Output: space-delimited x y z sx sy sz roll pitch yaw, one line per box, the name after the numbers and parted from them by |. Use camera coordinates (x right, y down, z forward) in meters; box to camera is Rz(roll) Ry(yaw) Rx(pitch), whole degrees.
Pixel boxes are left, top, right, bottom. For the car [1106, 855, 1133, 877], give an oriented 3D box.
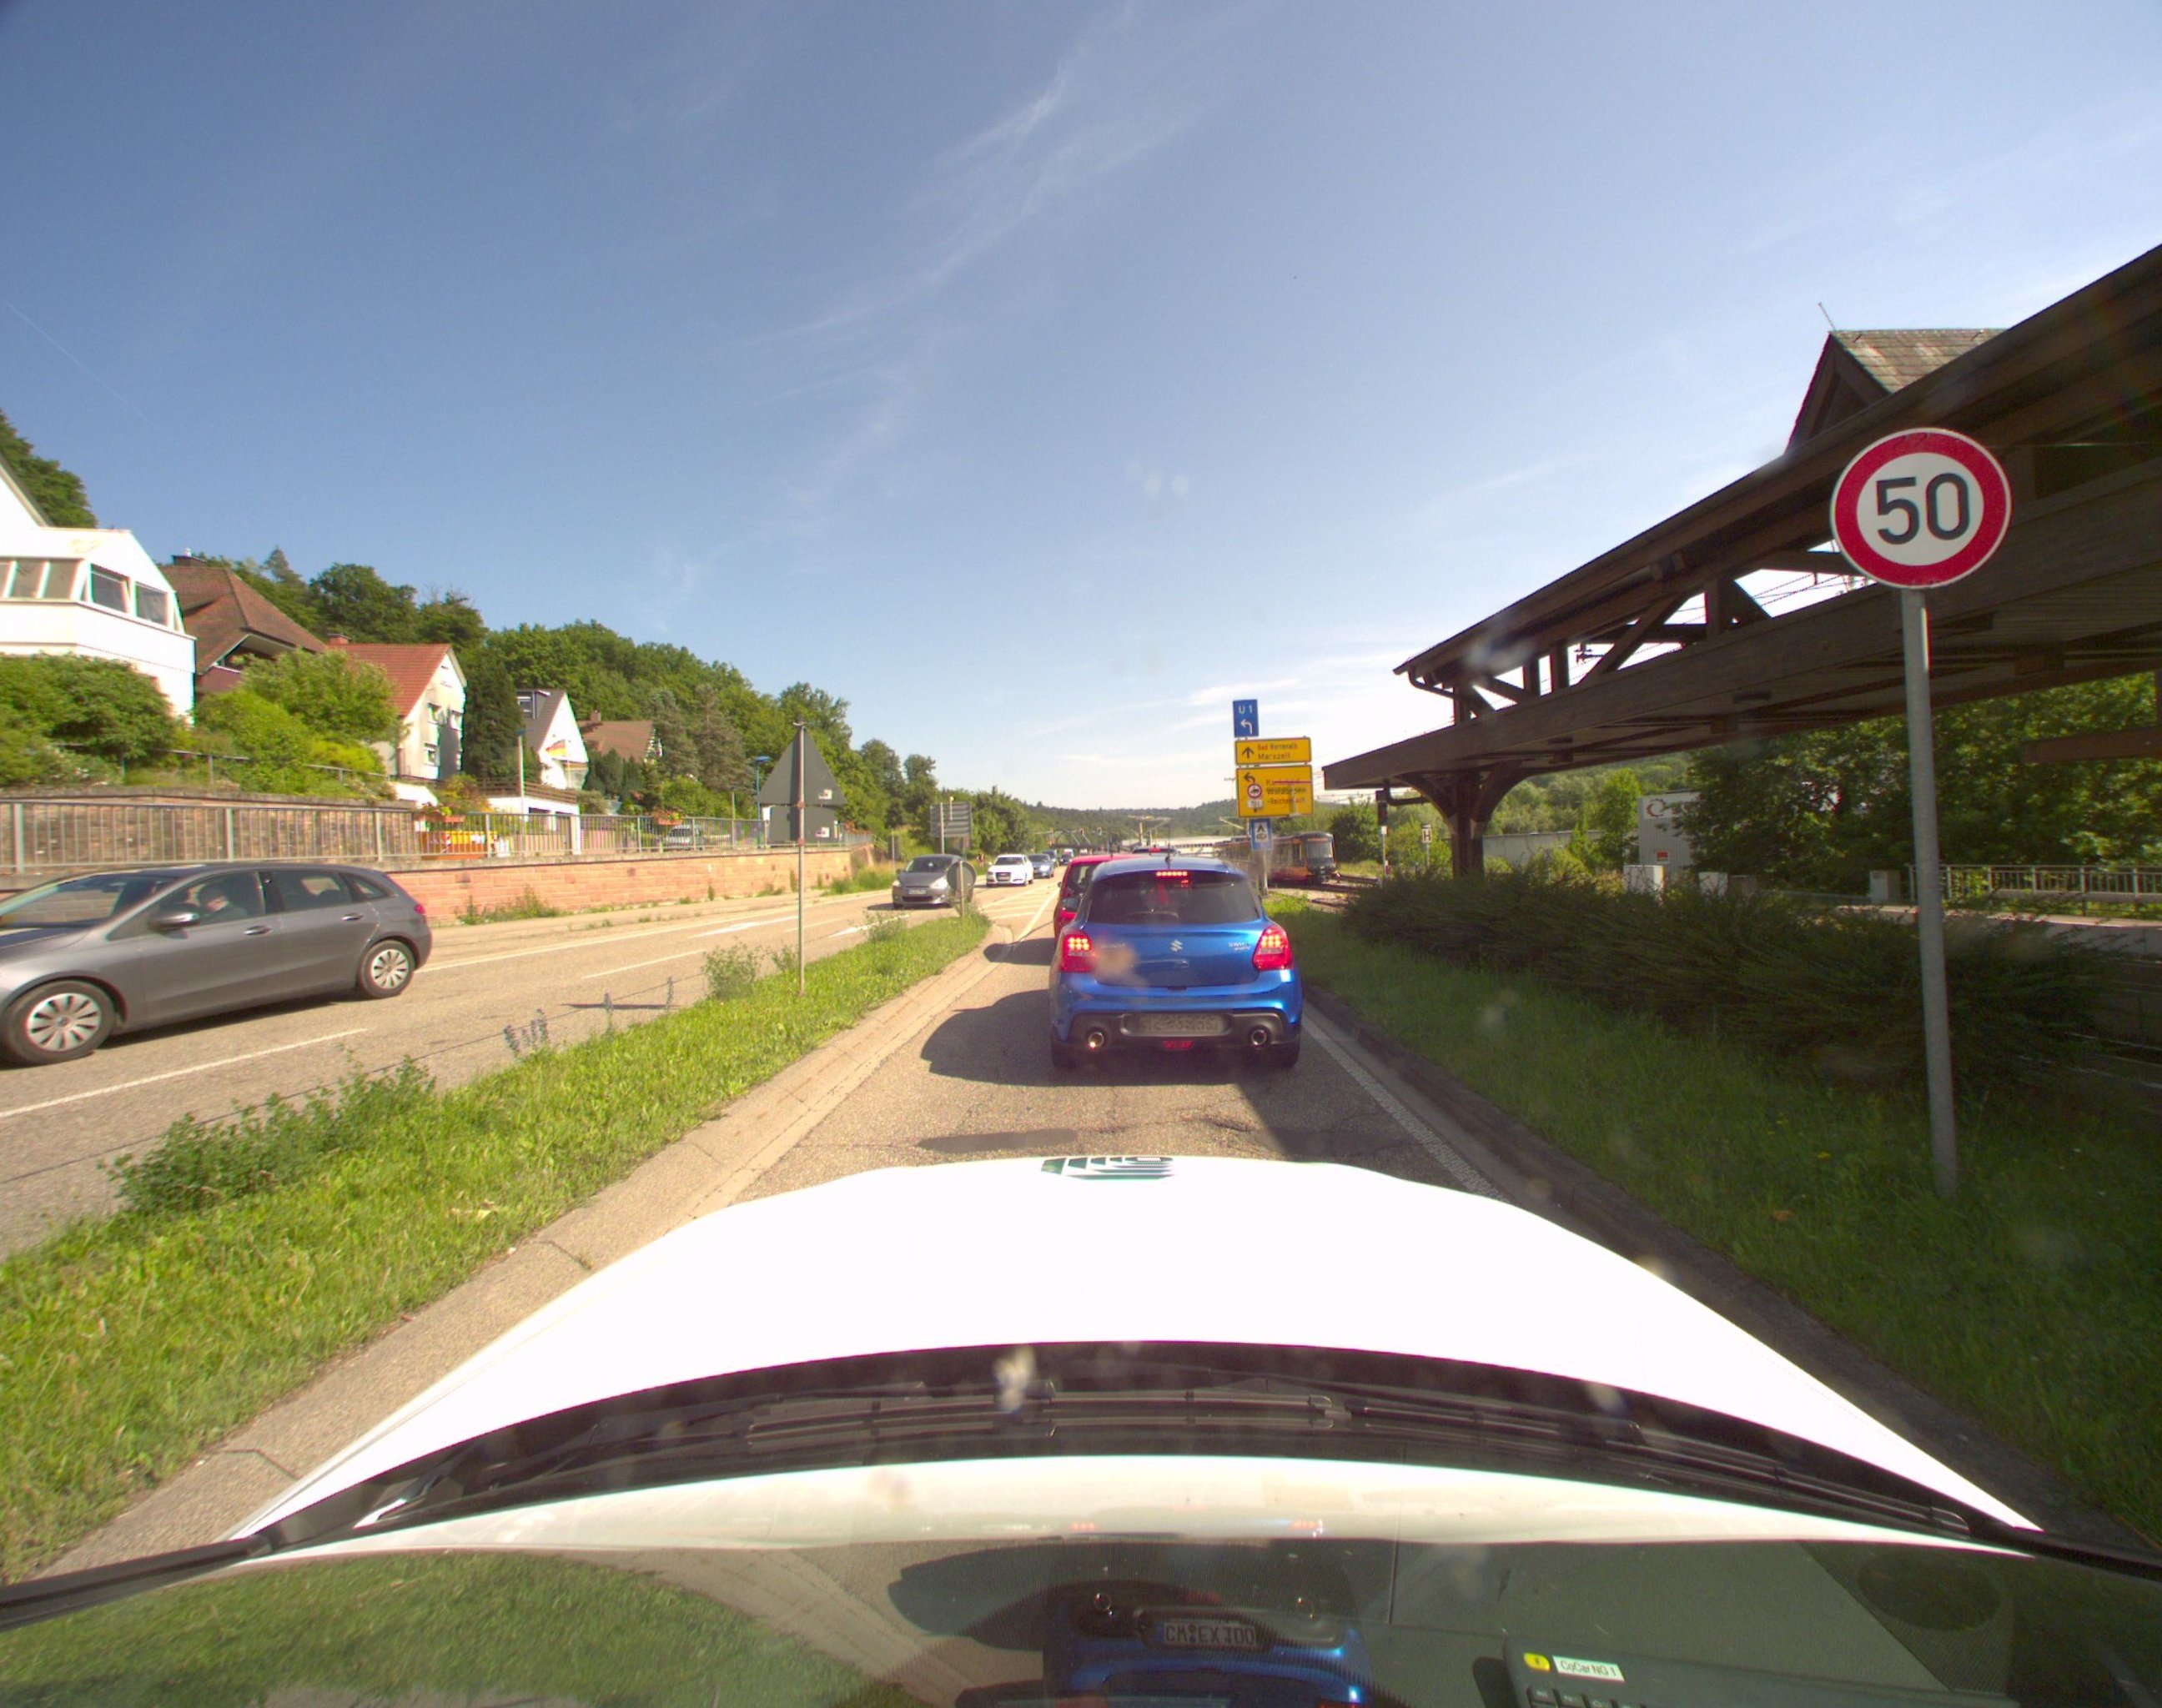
2.754 0.810 57.540 1.824 1.431 3.815 1 1 4 | car

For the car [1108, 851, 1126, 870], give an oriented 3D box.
3.963 0.734 90.975 1.986 2.013 4.002 0 1 2 | car

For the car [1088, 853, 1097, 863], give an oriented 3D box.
2.541 0.838 178.867 1.986 2.013 4.002 0 1 2 | car

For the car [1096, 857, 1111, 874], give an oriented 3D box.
2.985 1.513 109.030 1.986 2.013 4.002 0 1 2 | car

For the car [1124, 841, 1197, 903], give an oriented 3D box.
2.313 0.488 24.619 1.985 1.686 4.501 0 0 3 | car

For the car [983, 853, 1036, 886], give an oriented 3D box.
-3.205 0.671 37.222 1.825 1.369 3.953 0 1 3 | car

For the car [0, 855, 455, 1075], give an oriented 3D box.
-8.732 0.826 7.656 1.985 1.564 4.514 -1 0 4 | car

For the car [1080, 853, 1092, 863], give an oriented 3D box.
0.883 0.658 140.309 1.986 1.783 4.002 0 0 2 | car

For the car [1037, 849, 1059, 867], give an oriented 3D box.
-3.403 0.407 84.288 1.825 1.713 3.814 0 1 3 | car

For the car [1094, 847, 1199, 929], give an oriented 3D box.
1.405 0.648 18.078 1.985 1.531 4.606 -2 0 3 | car

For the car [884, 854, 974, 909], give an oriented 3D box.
-4.286 0.727 23.495 1.665 1.441 3.843 -1 0 3 | car

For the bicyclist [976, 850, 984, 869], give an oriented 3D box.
-8.167 0.425 65.829 0.627 1.507 0.506 0 1 -2 | bicyclist

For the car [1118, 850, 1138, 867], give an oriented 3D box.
4.488 0.418 77.342 1.824 1.493 3.815 1 1 4 | car

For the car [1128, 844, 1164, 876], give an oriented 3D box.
3.706 0.295 46.764 1.985 1.736 4.004 0 0 3 | car

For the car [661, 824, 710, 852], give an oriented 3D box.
-24.465 -0.968 50.495 1.898 1.629 3.981 -1 0 -14 | car

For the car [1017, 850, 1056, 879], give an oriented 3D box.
-2.570 0.592 47.775 1.825 1.468 3.815 1 2 3 | car

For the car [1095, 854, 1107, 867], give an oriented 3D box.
3.241 1.015 131.508 1.986 2.013 4.002 0 1 2 | car

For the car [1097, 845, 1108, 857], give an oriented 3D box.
3.989 -0.581 152.543 1.986 2.013 4.002 0 1 2 | car

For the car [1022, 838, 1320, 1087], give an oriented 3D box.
0.609 0.680 7.151 1.862 1.548 4.001 -1 0 1 | car

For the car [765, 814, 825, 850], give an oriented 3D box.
-16.107 -1.232 46.121 2.017 1.920 4.724 0 1 -5 | car

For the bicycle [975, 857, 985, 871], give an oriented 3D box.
-8.167 0.784 65.895 0.564 1.043 1.551 0 1 -1 | bicycle

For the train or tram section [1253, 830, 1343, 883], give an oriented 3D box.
15.326 0.160 59.025 2.846 3.365 14.354 -1 0 0 | train or tram section

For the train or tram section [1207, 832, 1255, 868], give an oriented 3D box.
15.312 -0.416 83.953 2.747 3.364 12.046 0 0 0 | train or tram section

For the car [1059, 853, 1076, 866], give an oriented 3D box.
-1.587 0.673 95.664 1.826 1.431 3.812 0 1 1 | car

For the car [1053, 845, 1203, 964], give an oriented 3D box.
0.736 0.676 12.822 1.985 1.571 4.004 0 0 3 | car

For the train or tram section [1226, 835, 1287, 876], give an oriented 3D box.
15.302 0.147 72.057 2.777 3.364 12.045 0 0 0 | train or tram section
